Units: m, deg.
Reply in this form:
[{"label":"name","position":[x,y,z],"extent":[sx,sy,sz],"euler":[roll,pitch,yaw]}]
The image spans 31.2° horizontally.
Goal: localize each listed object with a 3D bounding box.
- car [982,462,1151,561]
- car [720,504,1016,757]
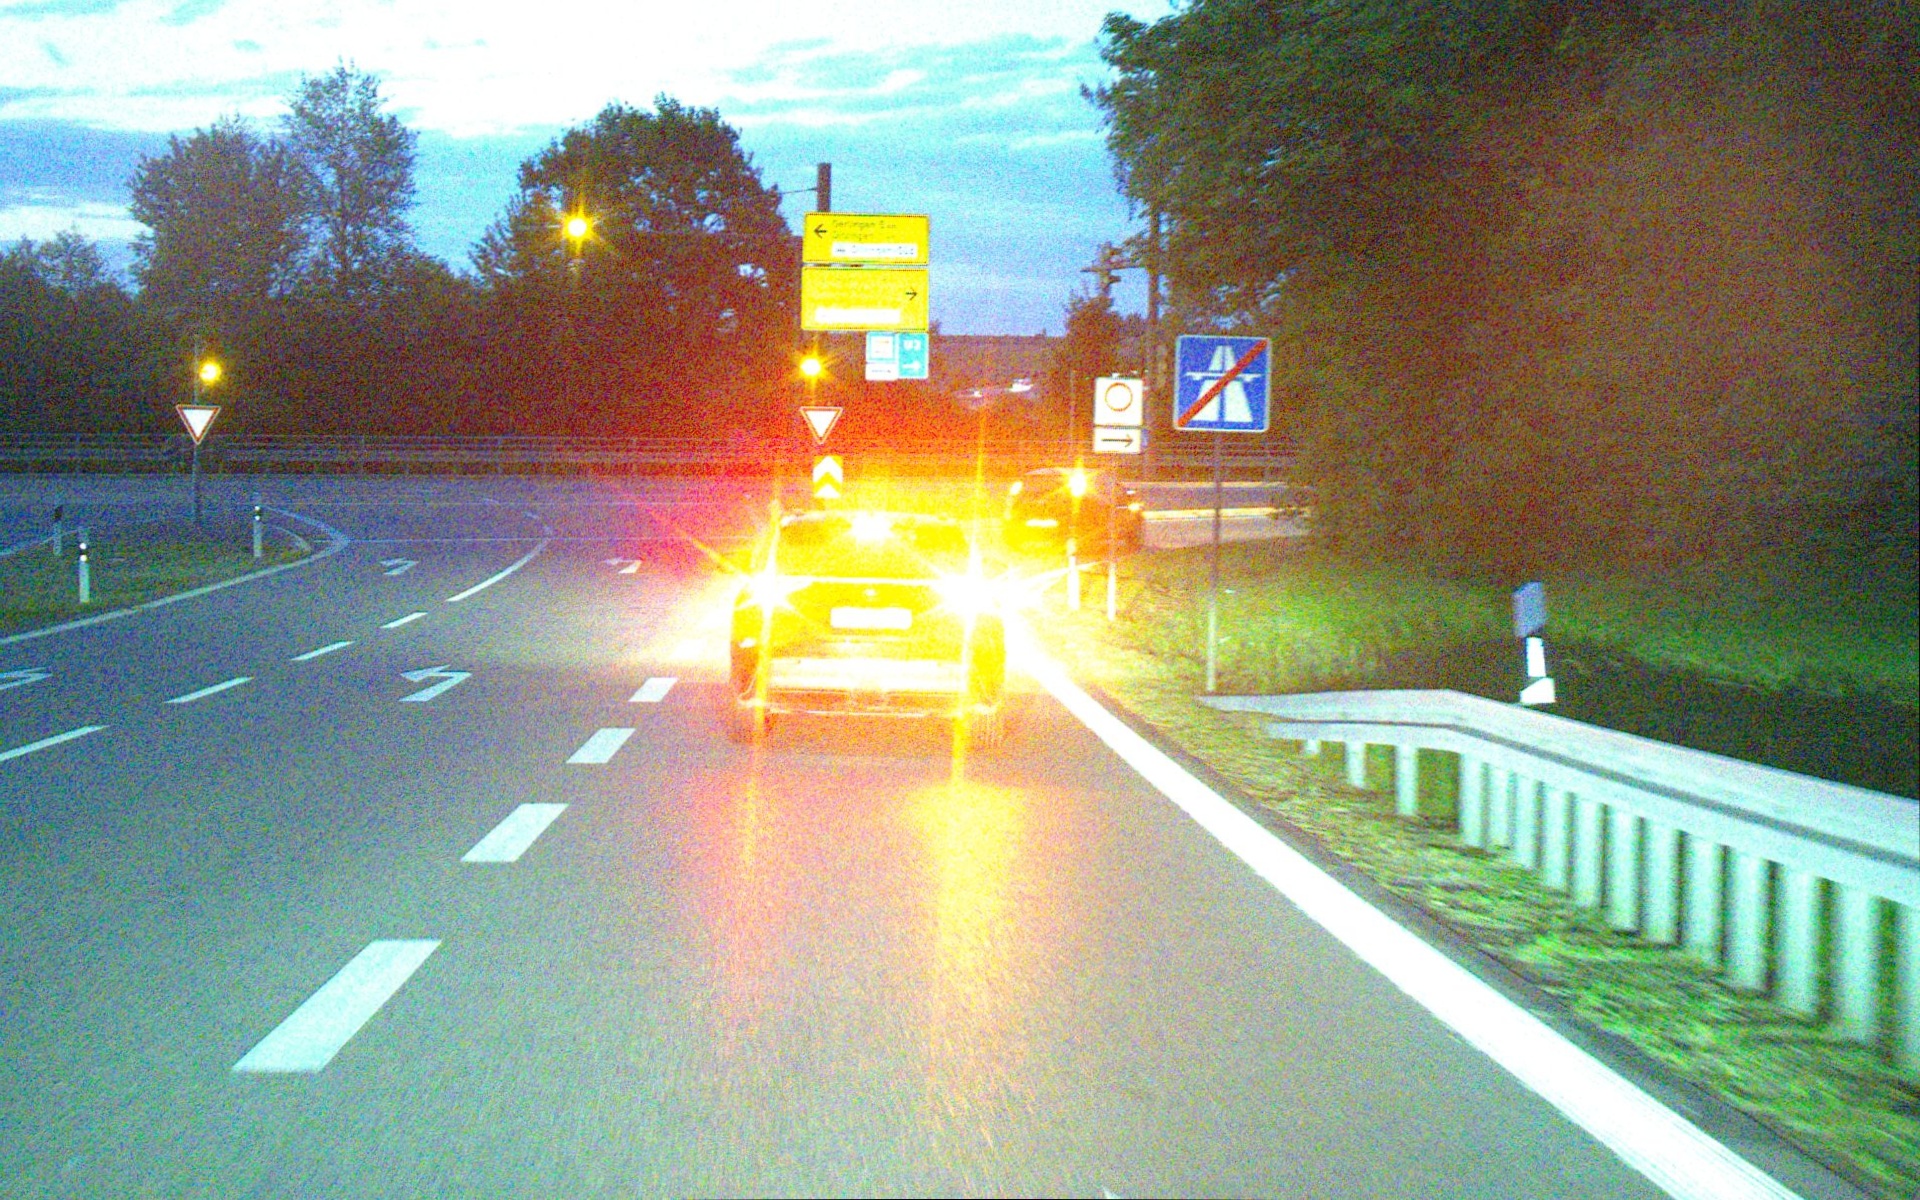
[{"label":"car","position":[1.941,-1.559,61.525],"extent":[1.783,1.647,3.996],"euler":[1,0,21]},{"label":"car","position":[-0.709,0.161,24.529],"extent":[1.901,1.614,4.557],"euler":[1,1,-3]}]
